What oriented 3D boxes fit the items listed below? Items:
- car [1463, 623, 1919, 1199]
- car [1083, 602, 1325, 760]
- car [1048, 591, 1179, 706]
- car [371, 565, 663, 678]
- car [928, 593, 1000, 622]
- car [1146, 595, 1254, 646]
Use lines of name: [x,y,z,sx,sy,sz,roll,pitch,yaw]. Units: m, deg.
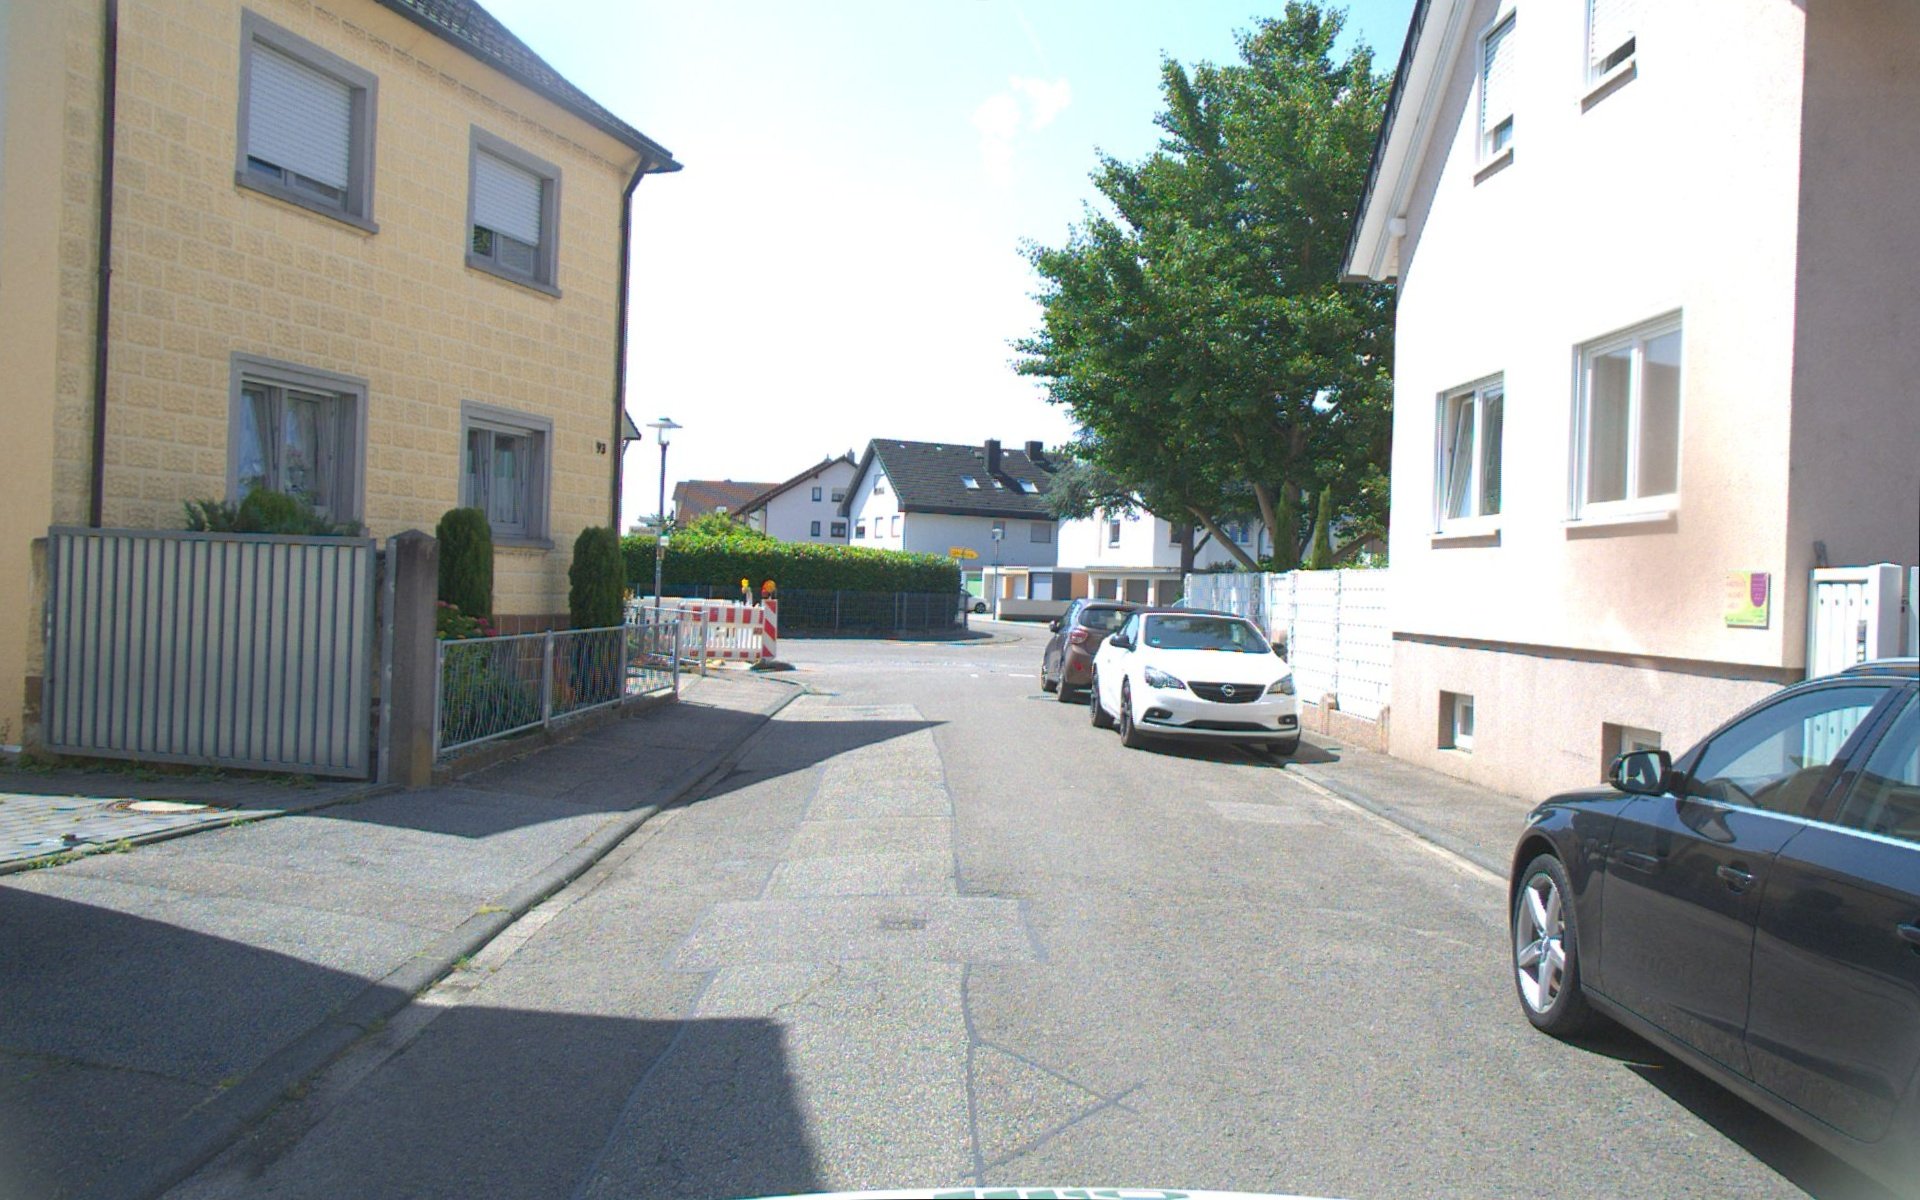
car: [3.072,0.840,4.556,1.857,1.389,4.737,3,0,0]
car: [2.589,0.808,18.696,1.857,1.453,4.736,3,0,-2]
car: [2.284,0.686,25.512,1.677,1.559,4.036,3,0,1]
car: [-6.886,0.301,25.591,4.376,1.511,1.788,3,0,31]
car: [0.213,0.400,91.366,3.551,1.433,1.771,2,0,-24]
car: [8.467,0.696,58.687,1.775,1.590,4.110,3,0,-25]
